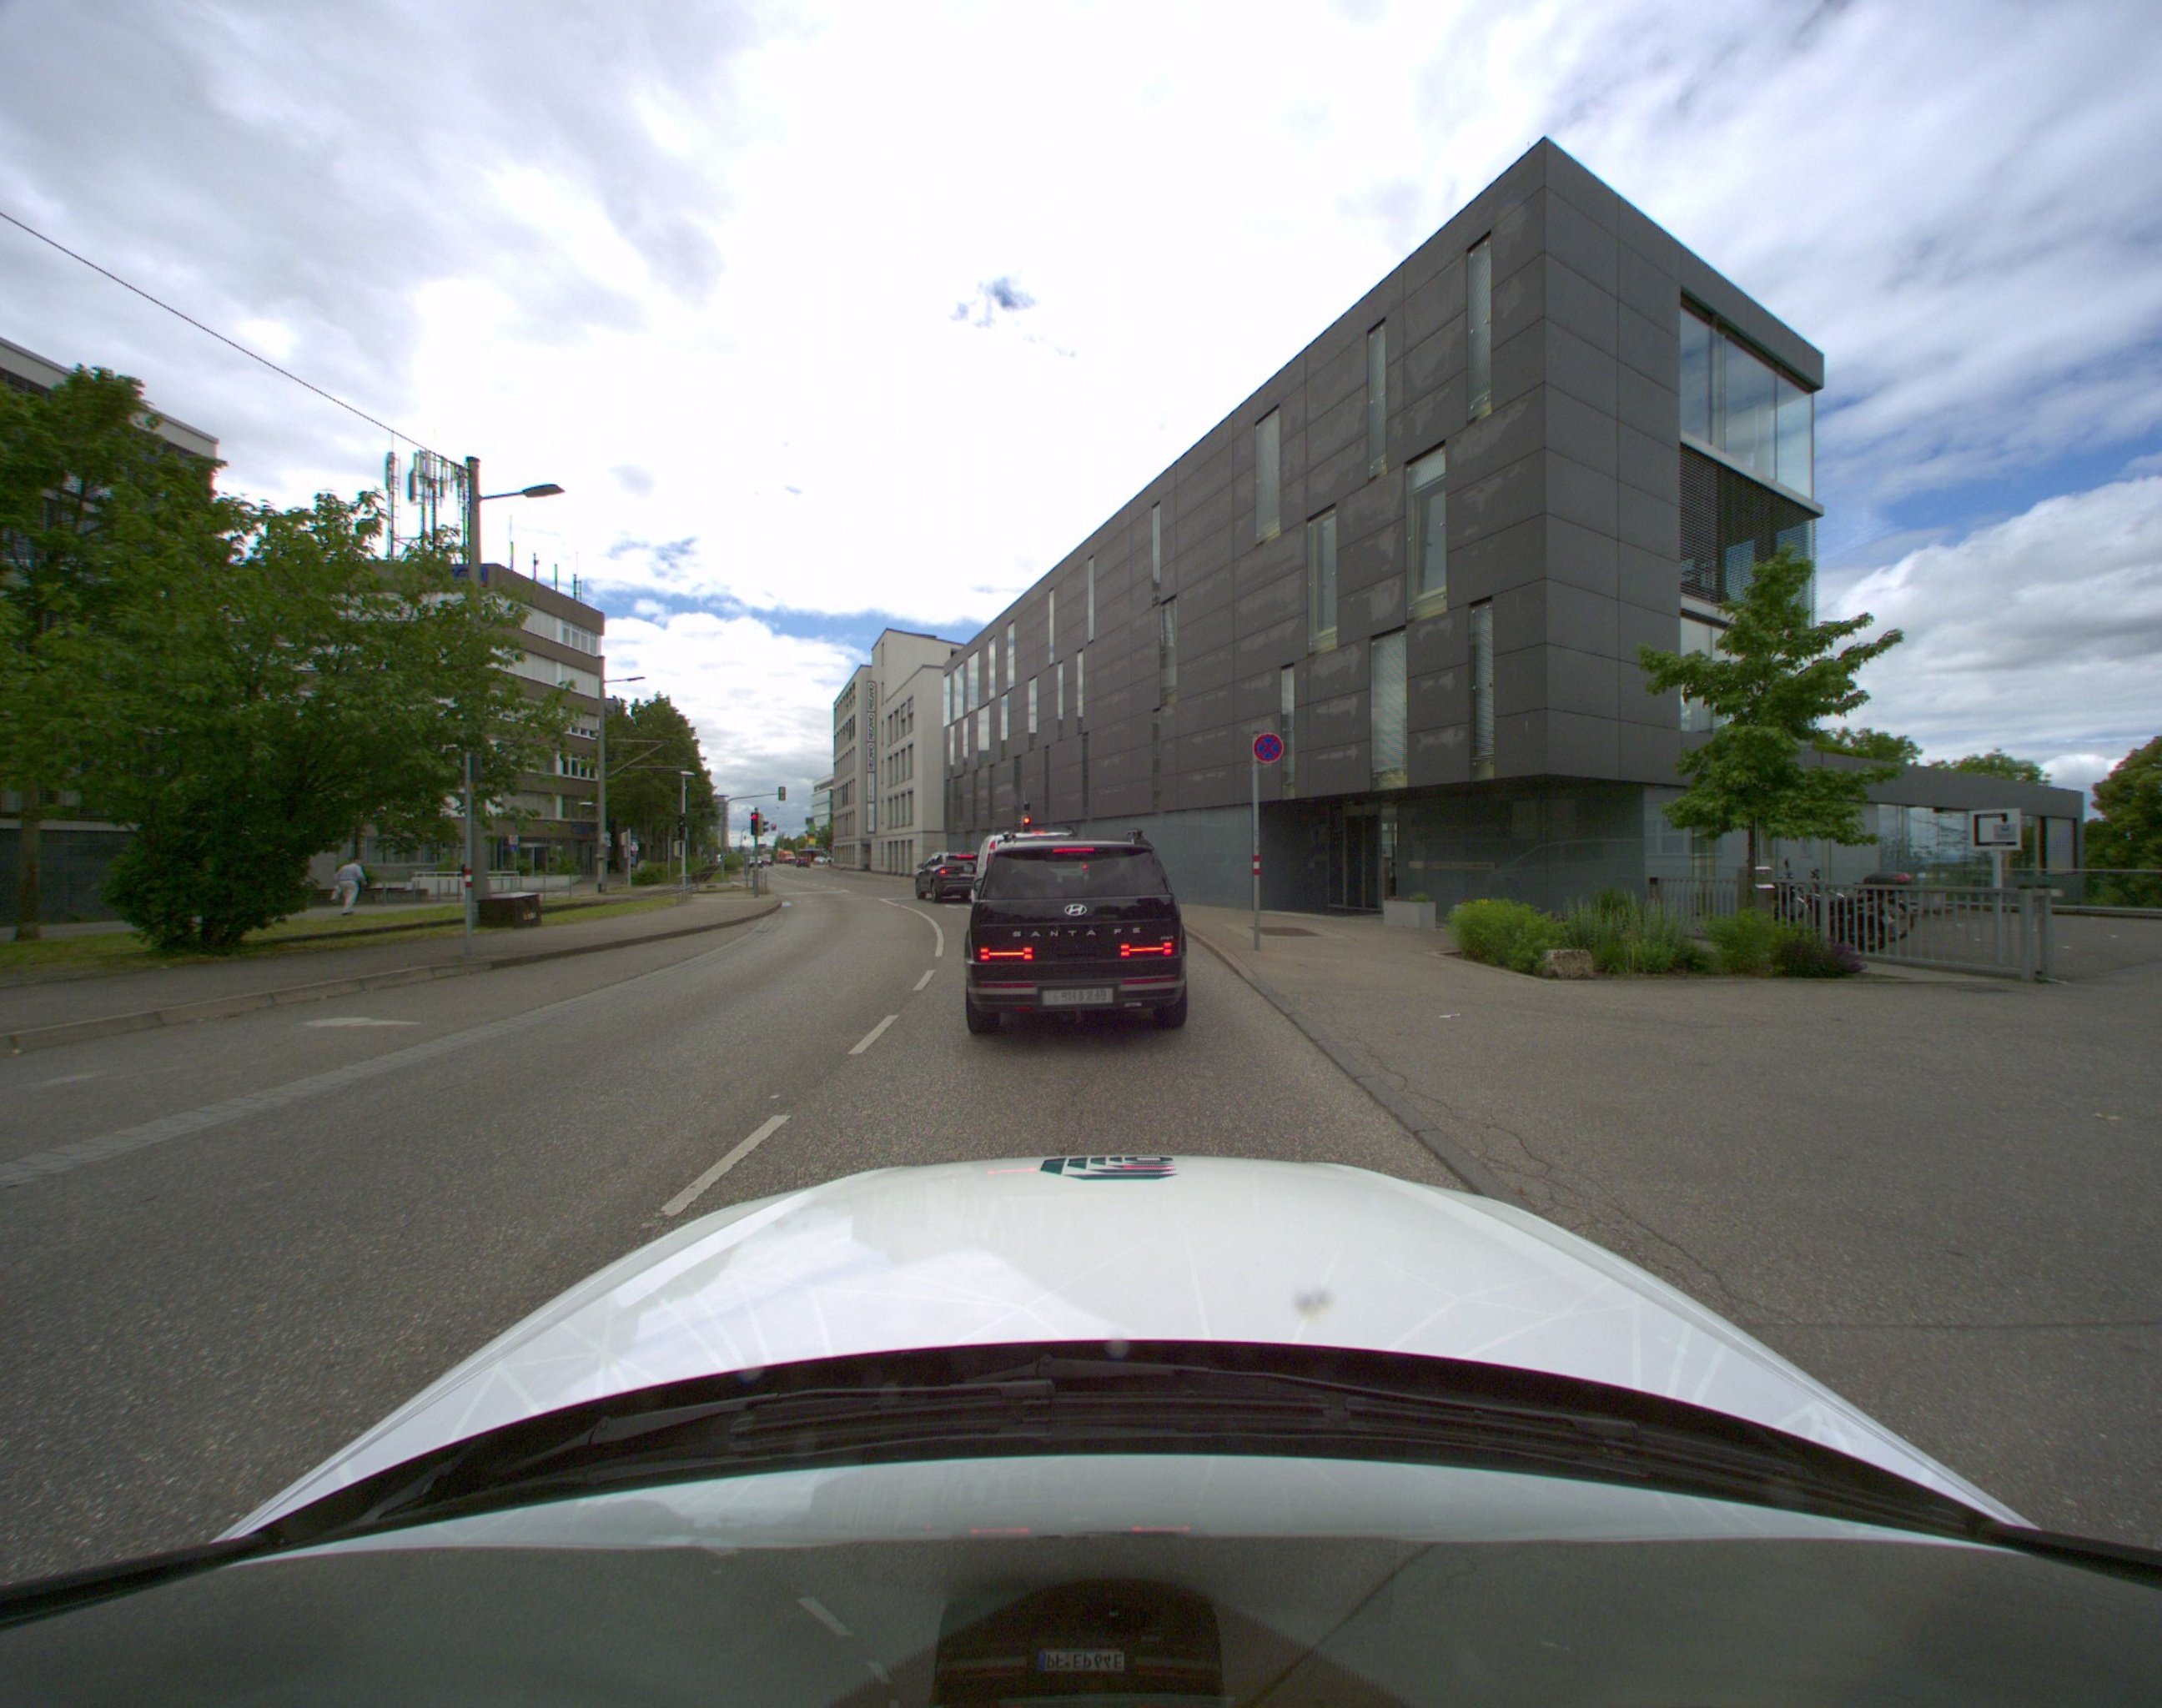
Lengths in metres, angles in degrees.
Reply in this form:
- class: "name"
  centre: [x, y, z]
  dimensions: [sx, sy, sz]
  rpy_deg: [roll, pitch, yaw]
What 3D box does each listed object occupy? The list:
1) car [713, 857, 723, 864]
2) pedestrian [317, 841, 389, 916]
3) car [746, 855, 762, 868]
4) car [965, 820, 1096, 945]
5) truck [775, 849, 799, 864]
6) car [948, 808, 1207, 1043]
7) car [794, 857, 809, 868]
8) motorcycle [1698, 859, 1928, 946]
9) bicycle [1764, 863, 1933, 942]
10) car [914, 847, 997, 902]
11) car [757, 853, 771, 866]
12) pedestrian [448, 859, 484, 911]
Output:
- class: "car"
  centre: [-100.781, 1.870, 226.076]
  dimensions: [1.927, 1.725, 4.131]
  rpy_deg: [1, 0, -30]
- class: "pedestrian"
  centre: [-20.355, 0.679, 22.796]
  dimensions: [1.048, 2.014, 0.914]
  rpy_deg: [2, -1, 2]
- class: "car"
  centre: [-43.916, 0.996, 109.518]
  dimensions: [1.858, 1.695, 3.972]
  rpy_deg: [0, 0, -20]
- class: "car"
  centre: [-1.130, 0.444, 15.661]
  dimensions: [1.857, 2.033, 4.418]
  rpy_deg: [-1, 0, -13]
- class: "truck"
  centre: [-57.253, 0.543, 158.564]
  dimensions: [2.592, 2.825, 6.915]
  rpy_deg: [0, 0, -35]
- class: "car"
  centre: [-0.061, 0.539, 8.192]
  dimensions: [1.910, 1.725, 4.168]
  rpy_deg: [1, 0, -1]
- class: "car"
  centre: [-41.456, 1.225, 121.055]
  dimensions: [1.903, 1.486, 3.978]
  rpy_deg: [0, 0, -16]
- class: "motorcycle"
  centre: [11.798, 0.715, 13.283]
  dimensions: [0.850, 1.260, 2.672]
  rpy_deg: [0, 0, -25]
- class: "bicycle"
  centre: [13.404, 0.795, 14.314]
  dimensions: [0.617, 1.260, 2.085]
  rpy_deg: [0, 0, -25]
- class: "car"
  centre: [-4.341, 0.673, 27.600]
  dimensions: [1.855, 1.677, 4.343]
  rpy_deg: [-1, 0, -22]
- class: "car"
  centre: [-48.721, 0.825, 125.207]
  dimensions: [1.856, 1.923, 3.976]
  rpy_deg: [0, 0, -18]
- class: "pedestrian"
  centre: [-24.131, 1.207, 31.982]
  dimensions: [0.768, 2.014, 0.885]
  rpy_deg: [3, -1, -17]
